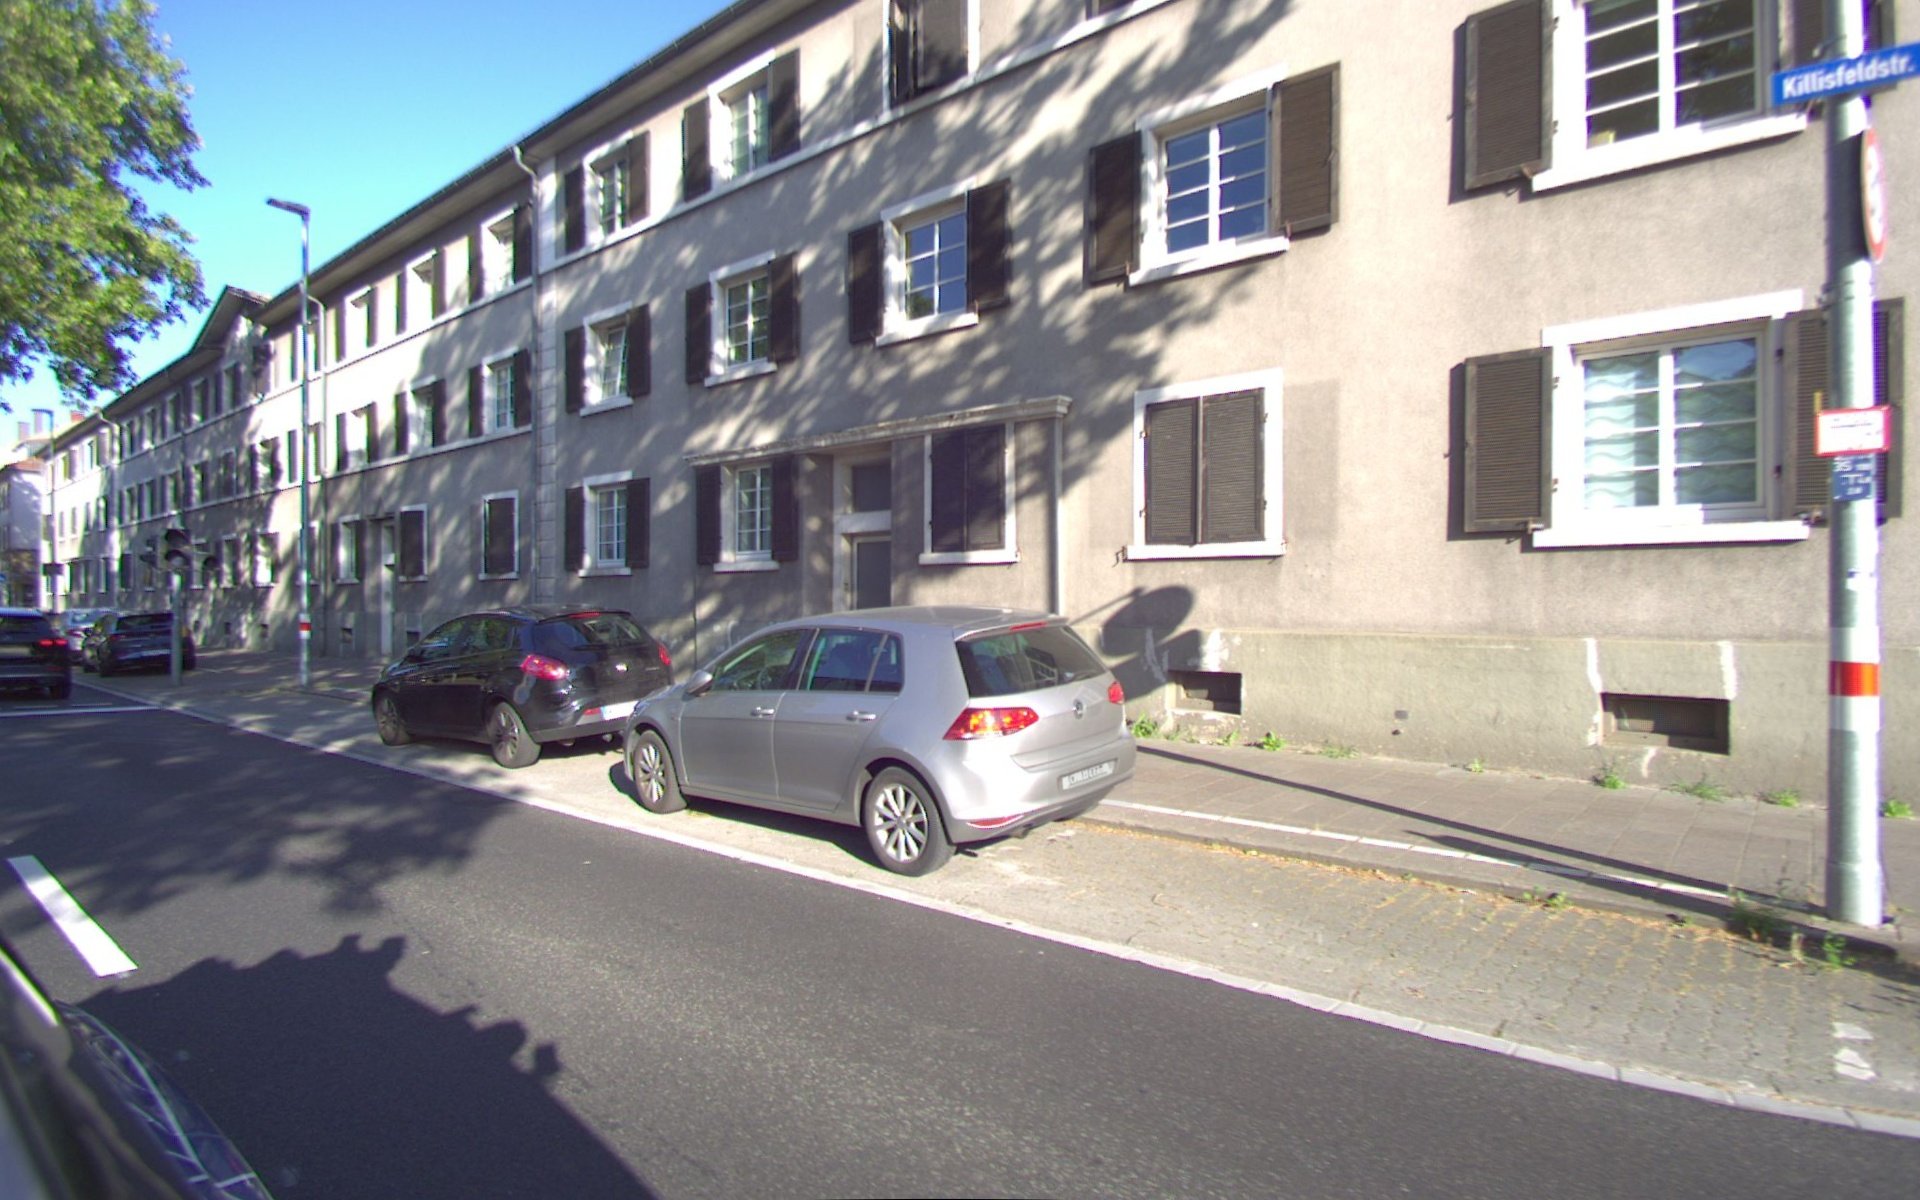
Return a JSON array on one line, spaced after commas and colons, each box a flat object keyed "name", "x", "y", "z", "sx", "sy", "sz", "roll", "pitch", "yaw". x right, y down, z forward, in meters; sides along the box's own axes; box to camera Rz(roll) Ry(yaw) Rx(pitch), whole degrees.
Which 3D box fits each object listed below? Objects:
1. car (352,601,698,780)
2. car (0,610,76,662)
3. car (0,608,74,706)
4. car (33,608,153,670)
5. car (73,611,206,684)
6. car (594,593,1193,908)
[{"name": "car", "x": -4.730, "y": 0.807, "z": 10.767, "sx": 4.049, "sy": 1.518, "sz": 1.690, "roll": -1, "pitch": 1, "yaw": 39}, {"name": "car", "x": -31.470, "y": 1.158, "z": 34.114, "sx": 4.082, "sy": 1.624, "sz": 1.847, "roll": -1, "pitch": 0, "yaw": 39}, {"name": "car", "x": -17.324, "y": 0.950, "z": 17.898, "sx": 4.066, "sy": 1.602, "sz": 1.877, "roll": -1, "pitch": -2, "yaw": 40}, {"name": "car", "x": -23.703, "y": 1.007, "z": 27.625, "sx": 4.083, "sy": 1.494, "sz": 1.846, "roll": -1, "pitch": 1, "yaw": 40}, {"name": "car", "x": -19.299, "y": 1.038, "z": 23.760, "sx": 4.086, "sy": 1.494, "sz": 1.845, "roll": -1, "pitch": 1, "yaw": 43}, {"name": "car", "x": -0.673, "y": 0.746, "z": 6.966, "sx": 4.107, "sy": 1.494, "sz": 1.742, "roll": -1, "pitch": 1, "yaw": 43}]
